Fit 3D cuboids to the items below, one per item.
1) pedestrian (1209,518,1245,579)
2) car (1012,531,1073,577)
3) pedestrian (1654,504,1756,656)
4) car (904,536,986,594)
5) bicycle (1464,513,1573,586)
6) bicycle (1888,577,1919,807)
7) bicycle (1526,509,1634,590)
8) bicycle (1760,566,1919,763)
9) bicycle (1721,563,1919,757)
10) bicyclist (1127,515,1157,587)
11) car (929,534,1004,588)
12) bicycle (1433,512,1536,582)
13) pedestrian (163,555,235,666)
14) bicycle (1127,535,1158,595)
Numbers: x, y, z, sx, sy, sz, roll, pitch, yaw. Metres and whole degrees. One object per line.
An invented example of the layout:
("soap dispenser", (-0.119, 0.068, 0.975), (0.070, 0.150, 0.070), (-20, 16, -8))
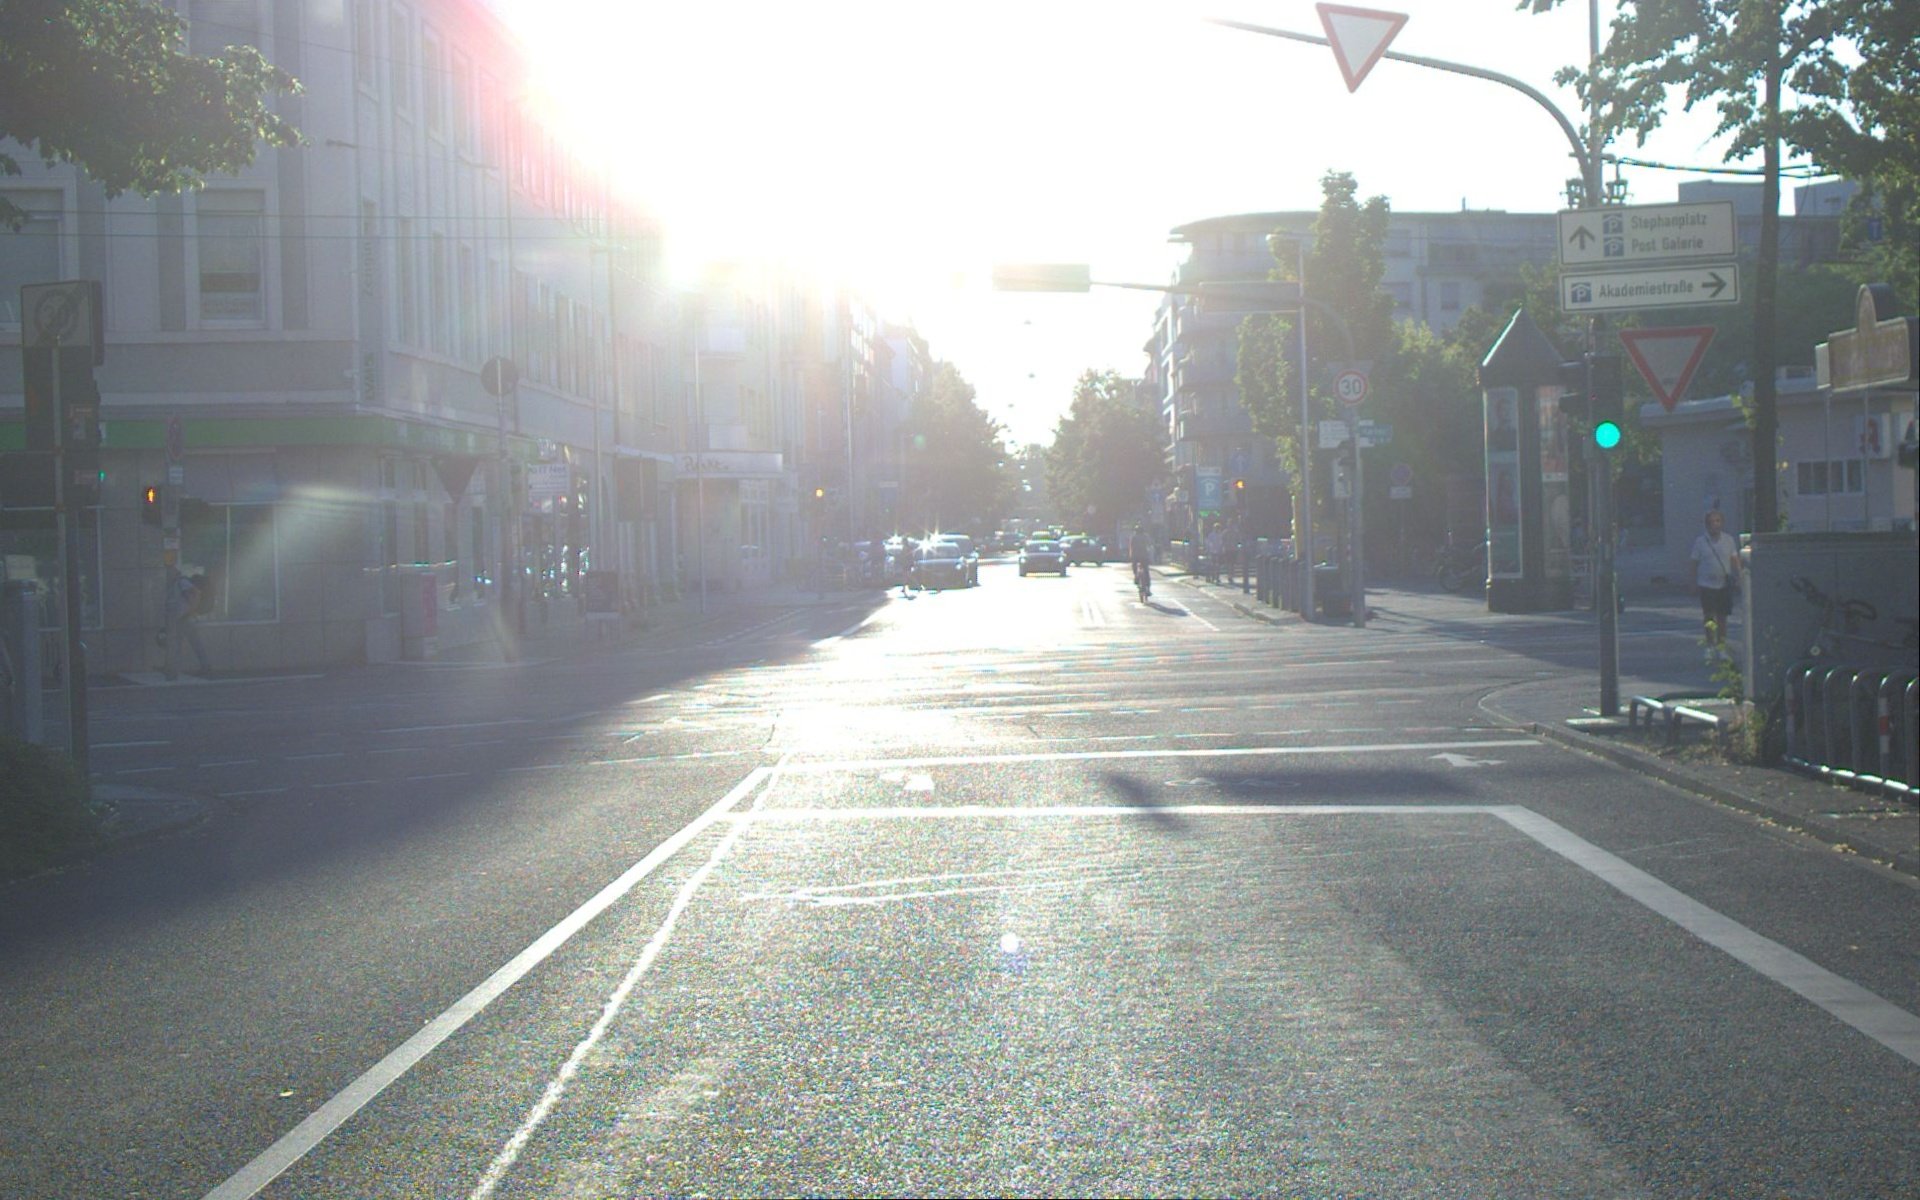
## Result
("pedestrian", (8.032, -1.543, 103.337), (0.804, 1.780, 0.993), (-3, 0, 16))
("car", (3.297, -1.840, 135.853), (2.304, 1.672, 5.532), (-2, 1, 2))
("pedestrian", (8.686, -0.239, 40.068), (0.805, 1.720, 0.992), (-3, 0, 30))
("car", (-0.443, -1.121, 108.169), (2.304, 1.672, 5.532), (-2, 1, 2))
("bicycle", (12.059, -1.095, 74.326), (2.222, 1.517, 0.681), (-2, 1, 3))
("bicycle", (5.960, 0.456, 18.314), (1.912, 1.199, 0.470), (-2, 1, -9))
("bicycle", (12.117, -0.987, 67.219), (1.986, 1.517, 0.479), (-2, 1, 3))
("bicycle", (6.042, 0.387, 21.582), (1.913, 1.199, 0.470), (-2, 1, 4))
("bicycle", (5.908, 0.372, 22.080), (1.913, 1.199, 0.470), (-2, 1, 4))
("bicyclist", (4.365, -1.167, 82.400), (0.679, 1.701, 0.669), (-2, 1, 3))
("car", (0.252, -1.333, 115.738), (2.304, 1.672, 5.532), (-2, 1, 2))
("bicycle", (11.810, -1.195, 77.481), (2.223, 1.517, 0.681), (-2, 1, 7))
("pedestrian", (-10.874, 0.145, 49.139), (0.867, 1.543, 0.699), (-2, 1, -20))
("bicycle", (4.387, -0.857, 82.511), (0.679, 1.397, 2.230), (-2, 1, 3))
